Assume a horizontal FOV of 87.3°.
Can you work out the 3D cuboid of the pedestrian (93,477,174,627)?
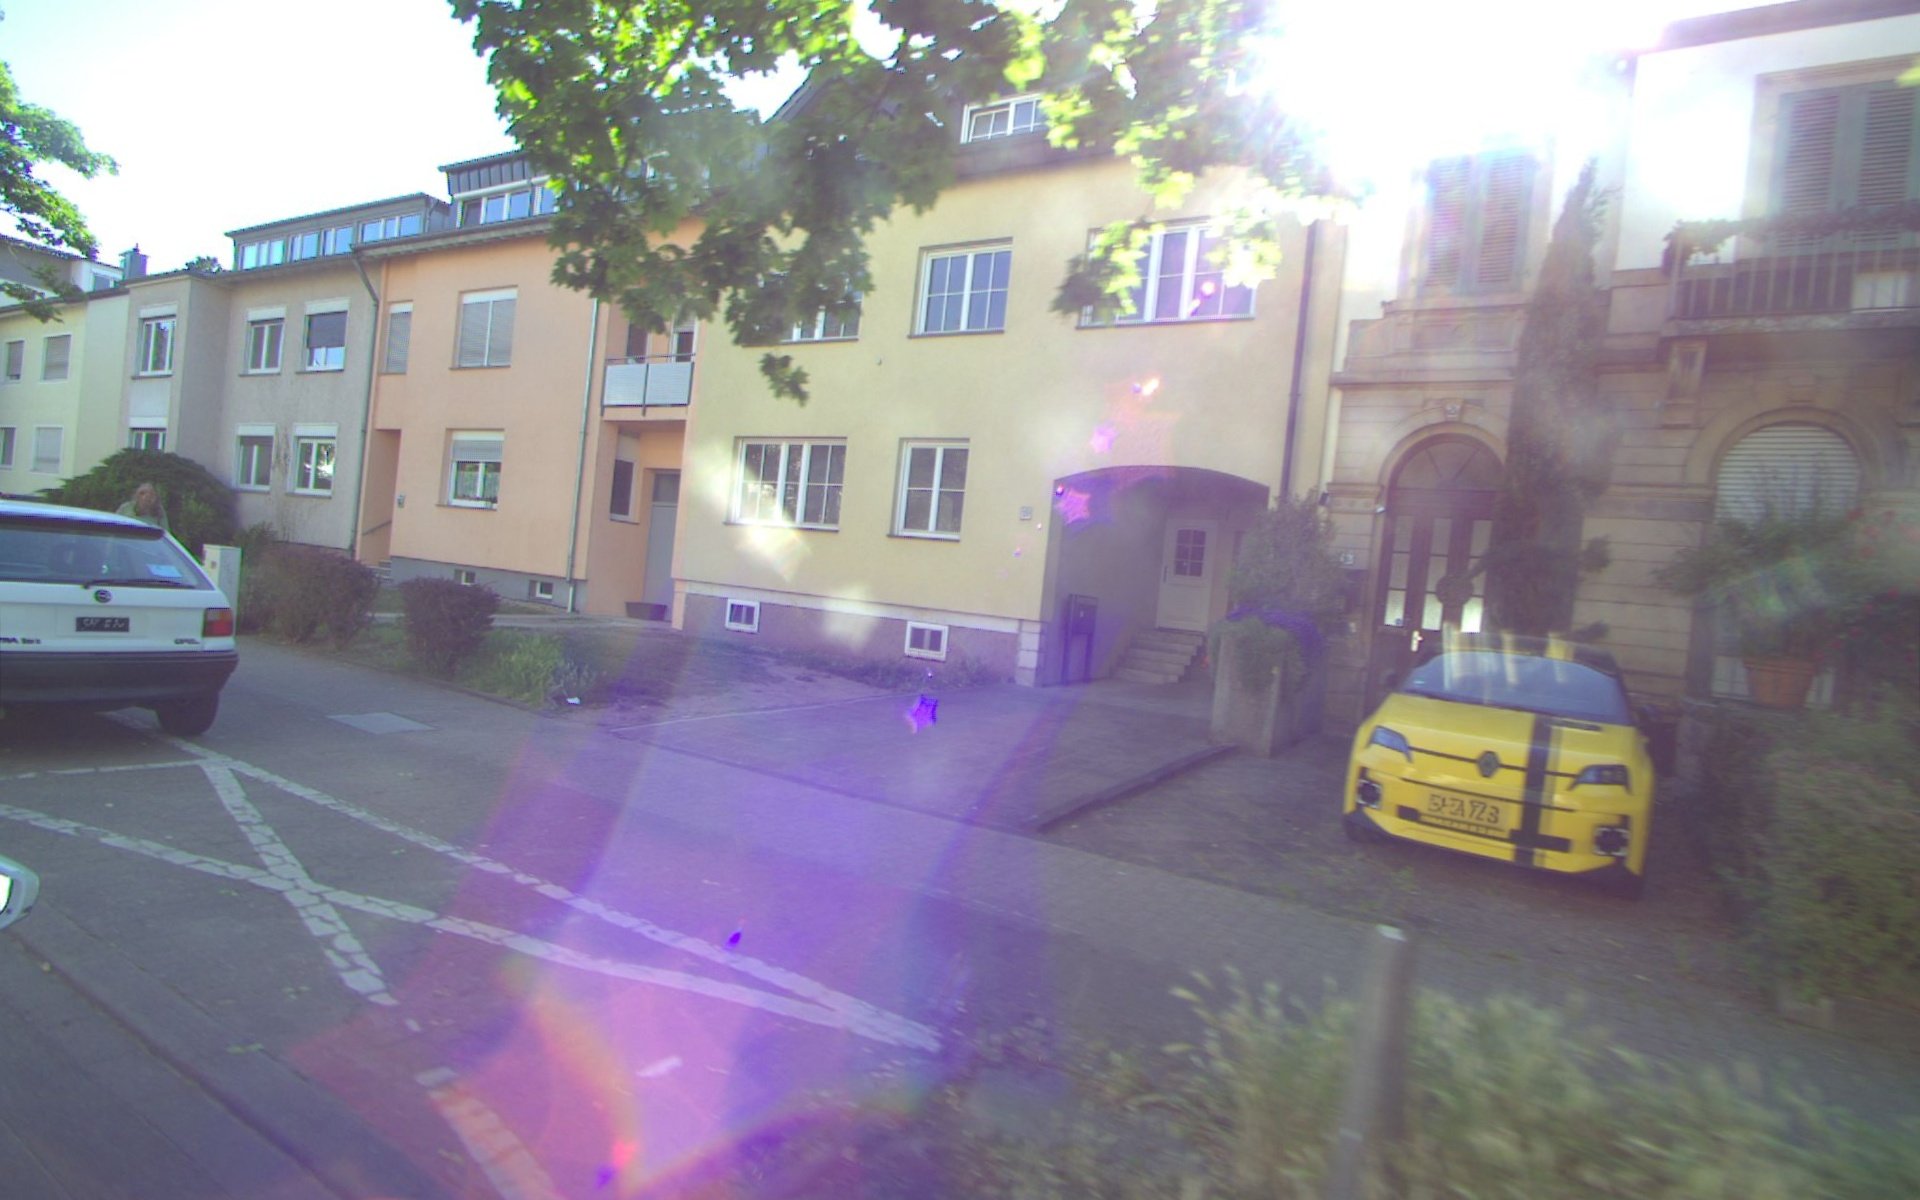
[{"bbox_3d":[-9.745,-0.553,11.865,0.485,1.699,0.538,7,2,31],"label":"pedestrian"}]

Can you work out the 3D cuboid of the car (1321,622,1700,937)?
[{"bbox_3d":[4.140,1.015,7.562,1.801,1.461,3.985,7,3,31],"label":"car"}]

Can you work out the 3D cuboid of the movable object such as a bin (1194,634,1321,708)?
[{"bbox_3d":[4.631,1.057,15.573,1.463,0.906,1.777,6,2,29],"label":"movable object such as a bin"}]

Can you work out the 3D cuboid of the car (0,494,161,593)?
[{"bbox_3d":[-15.046,-0.985,16.765,3.656,1.374,1.531,7,3,31],"label":"car"}]

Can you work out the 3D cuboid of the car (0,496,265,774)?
[{"bbox_3d":[-6.483,0.037,6.636,3.904,1.422,1.649,7,2,31],"label":"car"}]
